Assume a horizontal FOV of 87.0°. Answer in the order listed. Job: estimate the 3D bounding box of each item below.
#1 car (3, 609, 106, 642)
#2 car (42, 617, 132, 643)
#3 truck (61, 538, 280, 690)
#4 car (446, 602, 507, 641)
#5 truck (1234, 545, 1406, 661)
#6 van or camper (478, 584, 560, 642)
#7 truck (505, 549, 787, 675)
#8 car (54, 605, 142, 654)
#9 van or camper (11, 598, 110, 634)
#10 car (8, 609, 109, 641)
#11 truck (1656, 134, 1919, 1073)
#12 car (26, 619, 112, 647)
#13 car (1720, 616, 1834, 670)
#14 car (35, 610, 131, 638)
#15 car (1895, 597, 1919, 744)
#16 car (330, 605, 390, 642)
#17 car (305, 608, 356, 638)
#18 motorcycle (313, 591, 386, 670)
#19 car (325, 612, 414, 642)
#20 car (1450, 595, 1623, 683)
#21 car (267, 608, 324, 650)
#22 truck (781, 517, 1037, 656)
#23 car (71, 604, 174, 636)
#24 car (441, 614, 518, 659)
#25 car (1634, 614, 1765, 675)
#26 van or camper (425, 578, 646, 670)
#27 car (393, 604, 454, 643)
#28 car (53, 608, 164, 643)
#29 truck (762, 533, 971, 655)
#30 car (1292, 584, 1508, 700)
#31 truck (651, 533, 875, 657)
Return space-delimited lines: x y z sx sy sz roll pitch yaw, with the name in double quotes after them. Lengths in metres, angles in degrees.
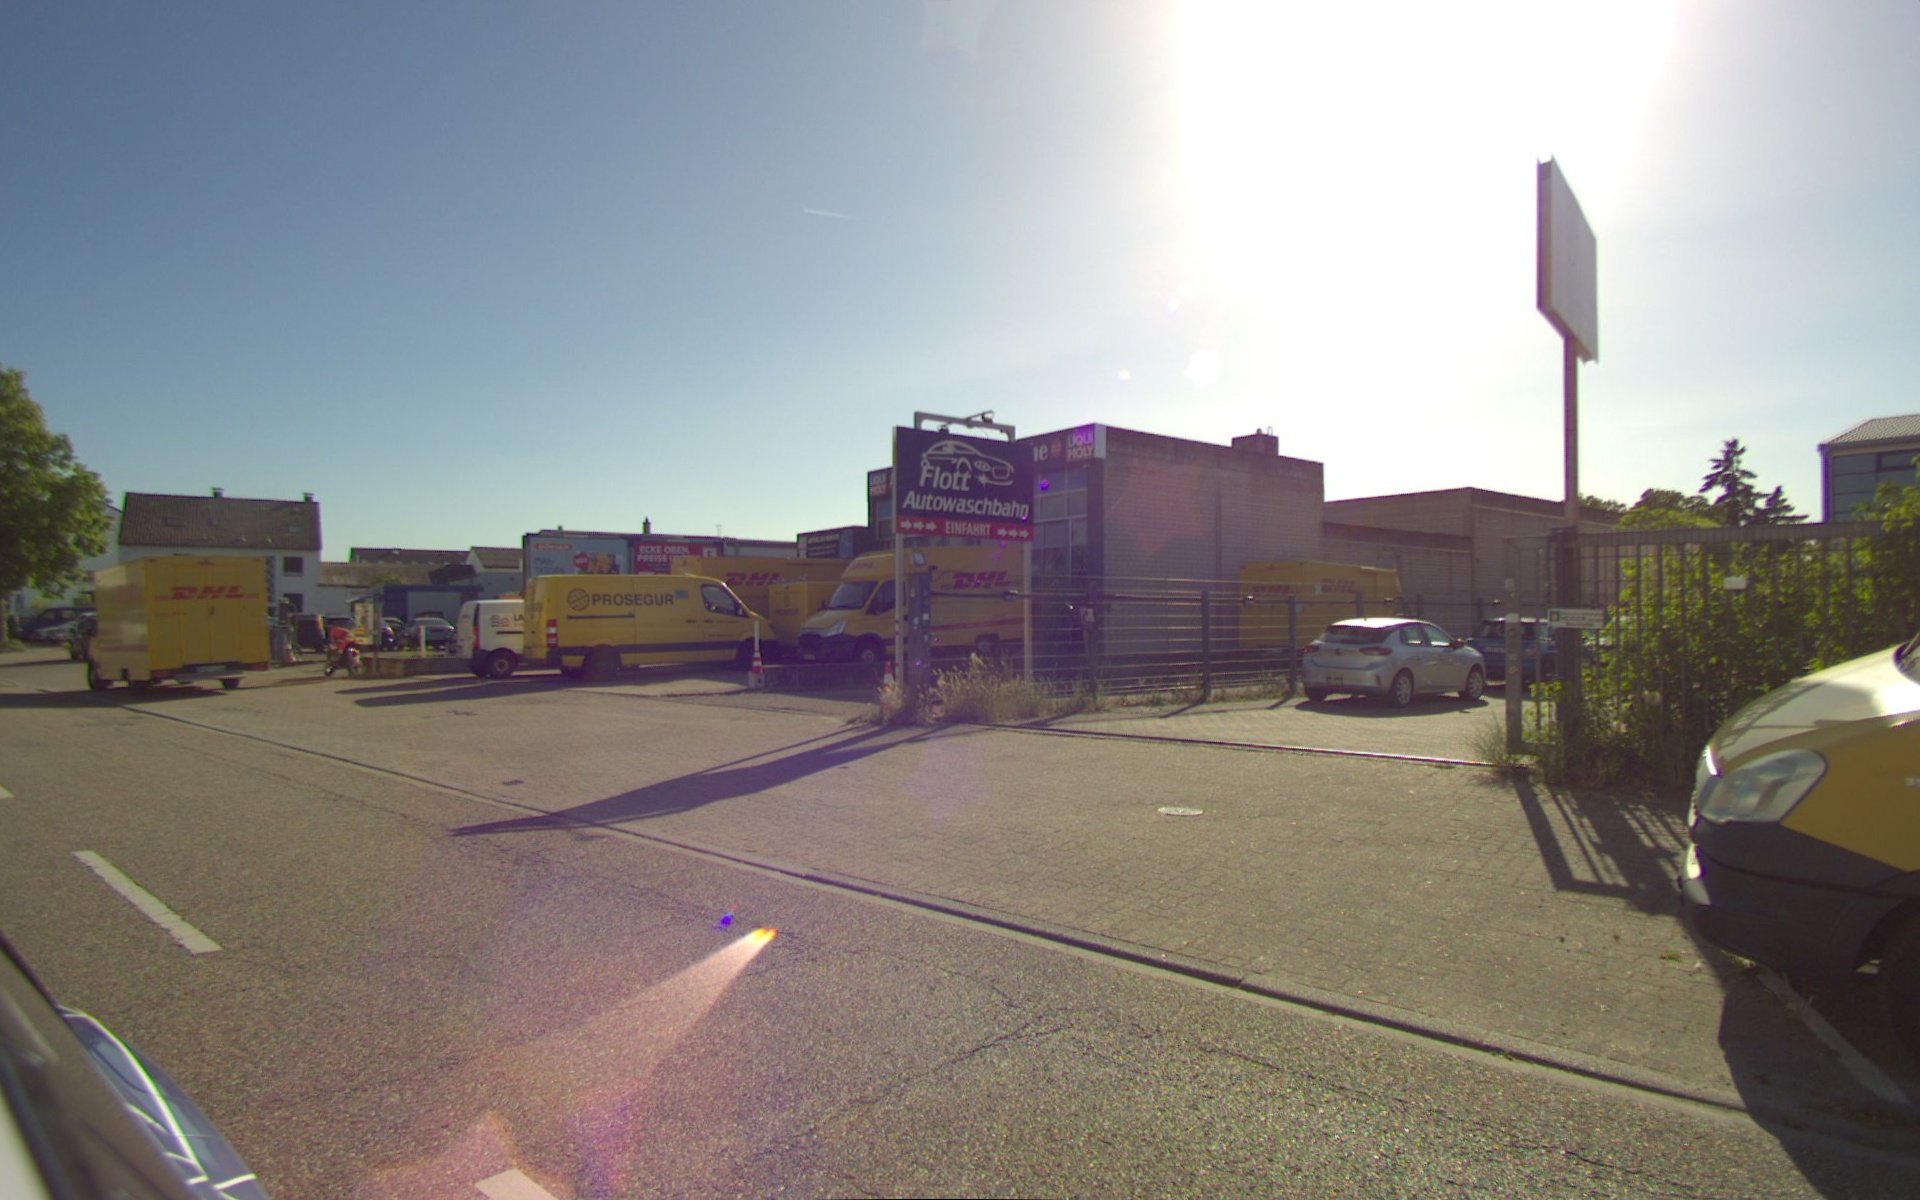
-50.335 1.394 56.304 4.199 1.742 1.767 1 -1 -44 "car"
-55.249 1.862 64.093 4.199 1.553 1.767 0 -1 -44 "car"
-18.299 0.291 23.265 7.238 3.005 2.379 -1 1 39 "truck"
-23.295 1.045 48.699 1.754 1.762 4.171 0 -2 -39 "car"
10.041 0.089 28.090 4.642 2.959 2.417 0 -1 -39 "truck"
-21.996 0.655 50.330 2.137 2.736 6.280 0 -1 -39 "van or camper"
-7.187 0.197 23.609 5.846 2.587 2.228 -2 0 -39 "truck"
-33.419 1.101 39.212 4.272 1.727 1.843 -1 2 40 "car"
-60.273 1.028 67.935 4.830 2.337 2.248 0 0 -39 "van or camper"
-51.806 1.413 58.198 1.766 1.766 4.202 -1 -1 43 "car"
5.729 -0.034 2.513 6.369 3.005 2.378 -1 1 41 "truck"
-54.299 1.989 61.708 1.547 1.553 3.766 -1 -1 40 "car"
24.724 1.238 30.590 3.824 1.502 1.837 0 -1 -38 "car"
-53.311 1.455 61.595 1.764 1.597 4.207 -1 -1 39 "car"
12.138 0.719 9.950 1.672 1.590 4.053 0 -2 -36 "car"
-26.927 1.090 45.352 1.754 1.557 4.171 0 -2 -39 "car"
-34.691 1.253 55.746 1.644 1.576 3.852 0 -1 -44 "car"
-15.763 0.779 26.098 3.041 1.887 0.772 -2 1 44 "motorcycle"
-31.360 1.422 53.812 3.935 1.461 1.673 0 1 -37 "car"
12.140 0.762 21.237 4.037 1.671 1.849 0 -1 -40 "car"
-29.601 1.309 45.013 1.754 1.762 4.171 0 -2 -39 "car"
-1.124 -0.255 24.468 6.012 2.995 2.178 0 -1 -37 "truck"
-46.892 1.118 56.706 1.765 1.742 4.205 -1 -1 40 "car"
-18.024 1.366 37.880 1.753 1.557 4.305 0 -2 -37 "car"
19.879 1.129 27.156 3.824 1.502 1.837 0 -1 -38 "car"
-10.304 0.561 24.749 4.489 2.029 2.253 1 -1 -44 "van or camper"
-25.084 1.120 47.257 1.754 1.762 4.171 0 -2 -39 "car"
-43.965 1.310 52.338 1.765 1.742 4.203 -1 -1 42 "car"
-2.457 -0.107 27.289 5.265 2.995 2.178 0 -1 -37 "truck"
7.793 0.680 17.793 4.037 1.805 1.849 0 -1 -40 "car"
-5.474 -0.180 28.513 5.596 3.143 2.528 -2 0 -39 "truck"
